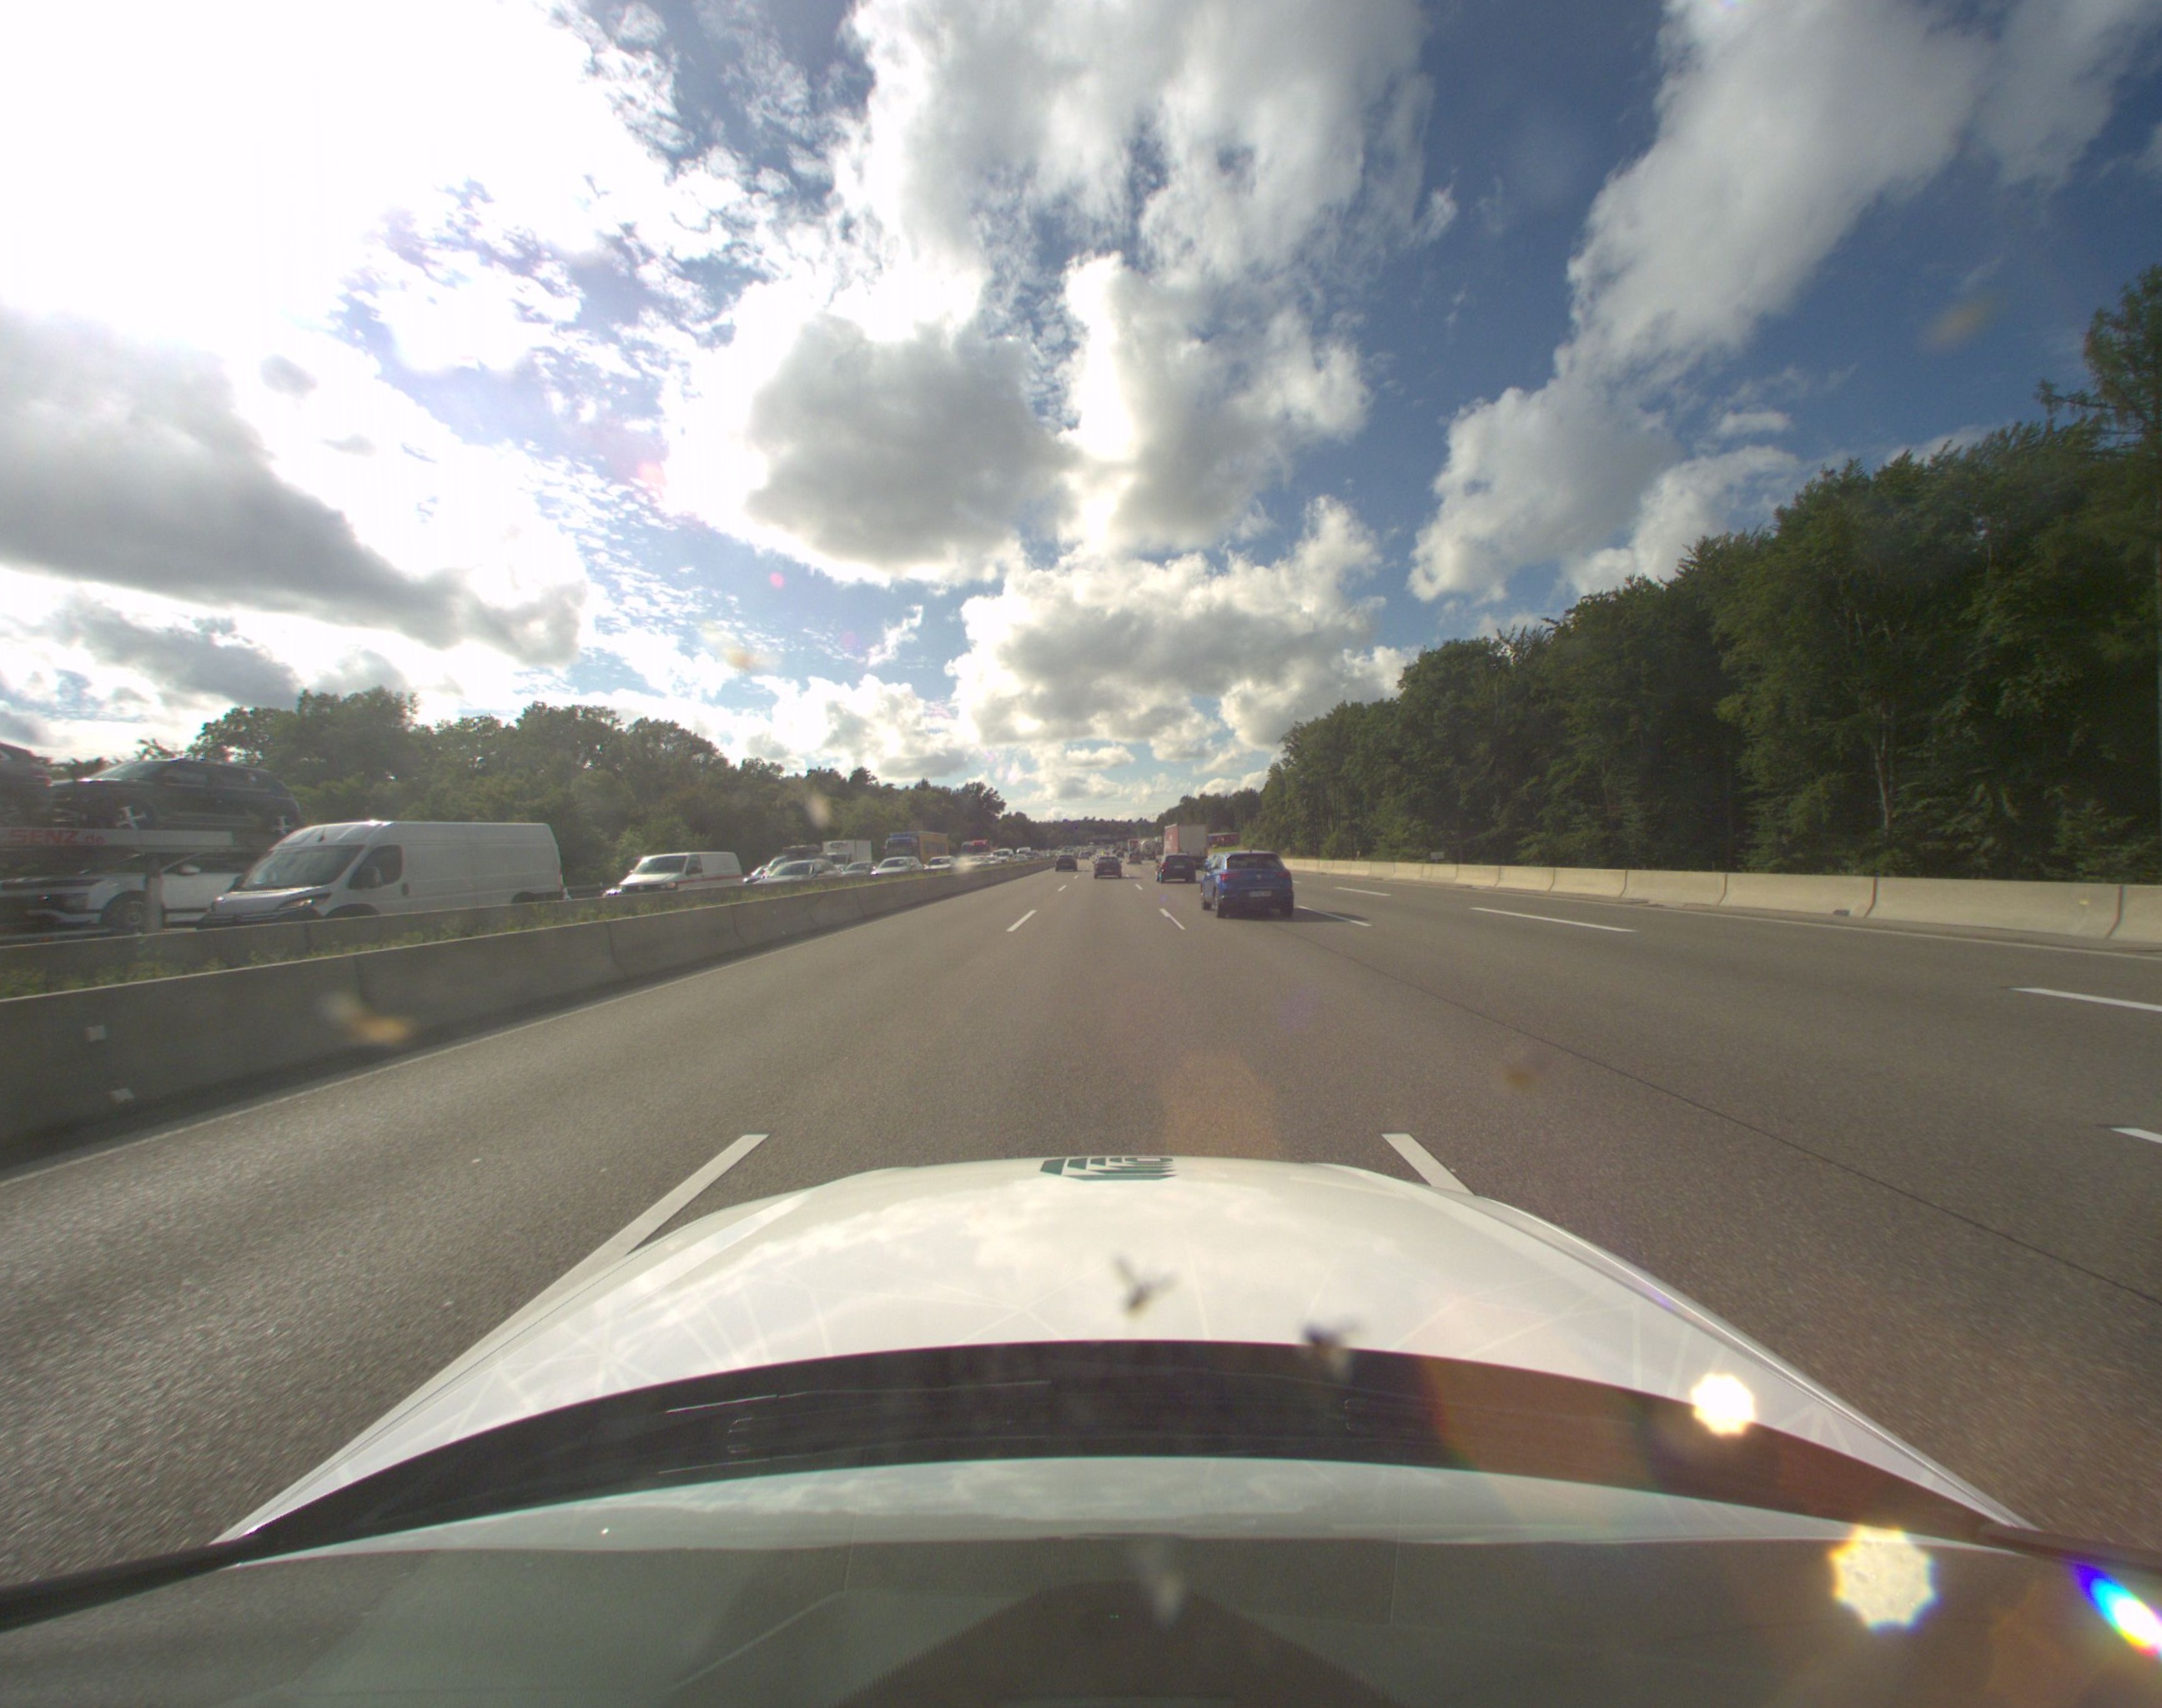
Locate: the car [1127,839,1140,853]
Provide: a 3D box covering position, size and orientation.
[{"bbox_3d":[12.015,-1.785,187.689,2.855,2.991,5.152,-1,-1,3],"label":"car"}]

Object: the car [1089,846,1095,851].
[{"bbox_3d":[3.014,-1.560,229.478,1.617,1.470,3.816,0,0,2],"label":"car"}]

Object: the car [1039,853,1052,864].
[{"bbox_3d":[-5.767,0.719,132.636,1.830,1.591,4.289,-2,0,1],"label":"car"}]

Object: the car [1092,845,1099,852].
[{"bbox_3d":[4.359,-1.545,246.024,1.986,2.013,4.001,0,0,1],"label":"car"}]

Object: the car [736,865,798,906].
[{"bbox_3d":[-16.354,1.625,42.584,1.637,2.014,4.000,-1,-1,1],"label":"car"}]

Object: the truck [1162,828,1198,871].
[{"bbox_3d":[9.886,-0.380,81.867,3.069,4.064,6.071,-1,-1,1],"label":"truck"}]

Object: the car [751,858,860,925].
[{"bbox_3d":[-9.149,1.209,27.479,1.986,2.014,4.411,-2,-1,2],"label":"car"}]

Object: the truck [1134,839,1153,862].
[{"bbox_3d":[11.528,-0.638,149.985,3.034,4.160,7.129,-1,0,2],"label":"truck"}]

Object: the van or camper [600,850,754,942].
[{"bbox_3d":[-13.134,1.294,27.030,2.037,2.711,5.753,-1,-1,2],"label":"van or camper"}]

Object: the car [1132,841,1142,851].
[{"bbox_3d":[12.163,-1.706,177.649,1.986,2.014,4.001,-1,-1,1],"label":"car"}]

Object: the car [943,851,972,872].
[{"bbox_3d":[-11.052,0.656,73.220,1.739,1.766,4.842,0,0,1],"label":"car"}]

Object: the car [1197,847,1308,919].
[{"bbox_3d":[4.124,0.629,20.353,1.917,1.541,4.648,-2,0,2],"label":"car"}]

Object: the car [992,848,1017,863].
[{"bbox_3d":[-7.372,0.133,79.114,1.843,1.354,5.488,-1,-1,1],"label":"car"}]

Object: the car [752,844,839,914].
[{"bbox_3d":[-12.944,1.046,37.341,1.986,2.963,5.404,0,0,1],"label":"car"}]

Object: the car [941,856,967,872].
[{"bbox_3d":[-11.802,0.972,75.932,1.727,1.401,3.836,-1,-1,1],"label":"car"}]

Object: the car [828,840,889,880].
[{"bbox_3d":[-12.054,0.363,44.378,1.987,2.014,4.657,-1,-1,1],"label":"car"}]

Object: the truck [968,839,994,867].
[{"bbox_3d":[-14.266,-0.140,116.918,2.766,3.938,6.853,-1,0,0],"label":"truck"}]

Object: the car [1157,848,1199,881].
[{"bbox_3d":[4.953,0.532,41.986,1.792,1.644,4.002,0,0,2],"label":"car"}]

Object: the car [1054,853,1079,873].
[{"bbox_3d":[-1.263,0.767,73.216,1.986,1.776,4.002,0,0,2],"label":"car"}]

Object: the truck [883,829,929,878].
[{"bbox_3d":[-15.455,-0.023,72.287,2.726,4.148,5.617,-1,-1,1],"label":"truck"}]

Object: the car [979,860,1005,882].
[{"bbox_3d":[-7.715,1.482,71.060,1.681,1.816,4.296,-1,-1,1],"label":"car"}]

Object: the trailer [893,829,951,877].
[{"bbox_3d":[-15.301,0.027,79.632,2.761,4.235,13.659,-1,-1,1],"label":"trailer"}]

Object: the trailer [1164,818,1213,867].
[{"bbox_3d":[9.716,-0.833,75.115,3.027,4.035,13.893,-1,-1,2],"label":"trailer"}]

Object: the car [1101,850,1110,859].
[{"bbox_3d":[5.612,0.101,187.295,1.986,2.014,4.001,-2,-1,1],"label":"car"}]

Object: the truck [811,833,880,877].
[{"bbox_3d":[-16.170,0.052,56.505,2.320,2.801,7.951,0,0,1],"label":"truck"}]

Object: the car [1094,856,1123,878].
[{"bbox_3d":[1.719,0.815,51.542,1.728,1.365,3.999,0,0,0],"label":"car"}]

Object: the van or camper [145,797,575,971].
[{"bbox_3d":[-13.359,0.534,16.078,2.382,2.711,6.634,-1,-1,2],"label":"van or camper"}]

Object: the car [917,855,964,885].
[{"bbox_3d":[-8.506,0.924,49.635,1.986,1.743,4.296,0,0,1],"label":"car"}]

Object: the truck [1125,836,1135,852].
[{"bbox_3d":[12.225,-2.538,204.816,2.348,3.572,11.273,-1,-1,3],"label":"truck"}]

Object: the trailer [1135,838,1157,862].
[{"bbox_3d":[11.385,-0.605,142.868,3.025,4.016,12.247,-1,-1,1],"label":"trailer"}]

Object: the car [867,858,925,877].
[{"bbox_3d":[-8.888,0.635,39.476,1.629,0.858,4.606,0,0,1],"label":"car"}]

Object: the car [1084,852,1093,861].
[{"bbox_3d":[1.785,0.496,188.880,1.986,2.013,4.001,0,0,1],"label":"car"}]

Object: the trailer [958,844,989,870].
[{"bbox_3d":[-17.825,0.368,136.081,2.798,4.119,14.048,0,1,2],"label":"trailer"}]

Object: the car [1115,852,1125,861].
[{"bbox_3d":[8.086,0.520,171.097,1.986,2.014,4.001,0,0,1],"label":"car"}]

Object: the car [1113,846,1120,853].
[{"bbox_3d":[10.874,-1.312,251.457,1.986,2.013,4.001,0,0,1],"label":"car"}]

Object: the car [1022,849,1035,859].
[{"bbox_3d":[-9.257,-0.016,143.187,1.793,1.632,4.664,-2,0,2],"label":"car"}]

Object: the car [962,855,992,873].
[{"bbox_3d":[-8.075,0.740,63.500,1.751,1.377,4.000,0,0,1],"label":"car"}]

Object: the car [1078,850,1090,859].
[{"bbox_3d":[0.552,0.113,157.040,2.146,1.776,4.002,0,0,2],"label":"car"}]

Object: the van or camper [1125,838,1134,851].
[{"bbox_3d":[12.558,-2.382,211.639,2.342,3.144,5.714,-1,-1,3],"label":"van or camper"}]

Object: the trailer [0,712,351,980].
[{"bbox_3d":[-17.481,-0.158,9.673,2.820,3.975,16.008,-1,-1,2],"label":"trailer"}]

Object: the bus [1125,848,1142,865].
[{"bbox_3d":[6.644,0.348,103.732,1.986,2.014,4.001,-1,-1,2],"label":"bus"}]

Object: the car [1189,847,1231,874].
[{"bbox_3d":[7.765,0.406,49.290,1.711,1.511,4.298,-2,0,-2],"label":"car"}]
